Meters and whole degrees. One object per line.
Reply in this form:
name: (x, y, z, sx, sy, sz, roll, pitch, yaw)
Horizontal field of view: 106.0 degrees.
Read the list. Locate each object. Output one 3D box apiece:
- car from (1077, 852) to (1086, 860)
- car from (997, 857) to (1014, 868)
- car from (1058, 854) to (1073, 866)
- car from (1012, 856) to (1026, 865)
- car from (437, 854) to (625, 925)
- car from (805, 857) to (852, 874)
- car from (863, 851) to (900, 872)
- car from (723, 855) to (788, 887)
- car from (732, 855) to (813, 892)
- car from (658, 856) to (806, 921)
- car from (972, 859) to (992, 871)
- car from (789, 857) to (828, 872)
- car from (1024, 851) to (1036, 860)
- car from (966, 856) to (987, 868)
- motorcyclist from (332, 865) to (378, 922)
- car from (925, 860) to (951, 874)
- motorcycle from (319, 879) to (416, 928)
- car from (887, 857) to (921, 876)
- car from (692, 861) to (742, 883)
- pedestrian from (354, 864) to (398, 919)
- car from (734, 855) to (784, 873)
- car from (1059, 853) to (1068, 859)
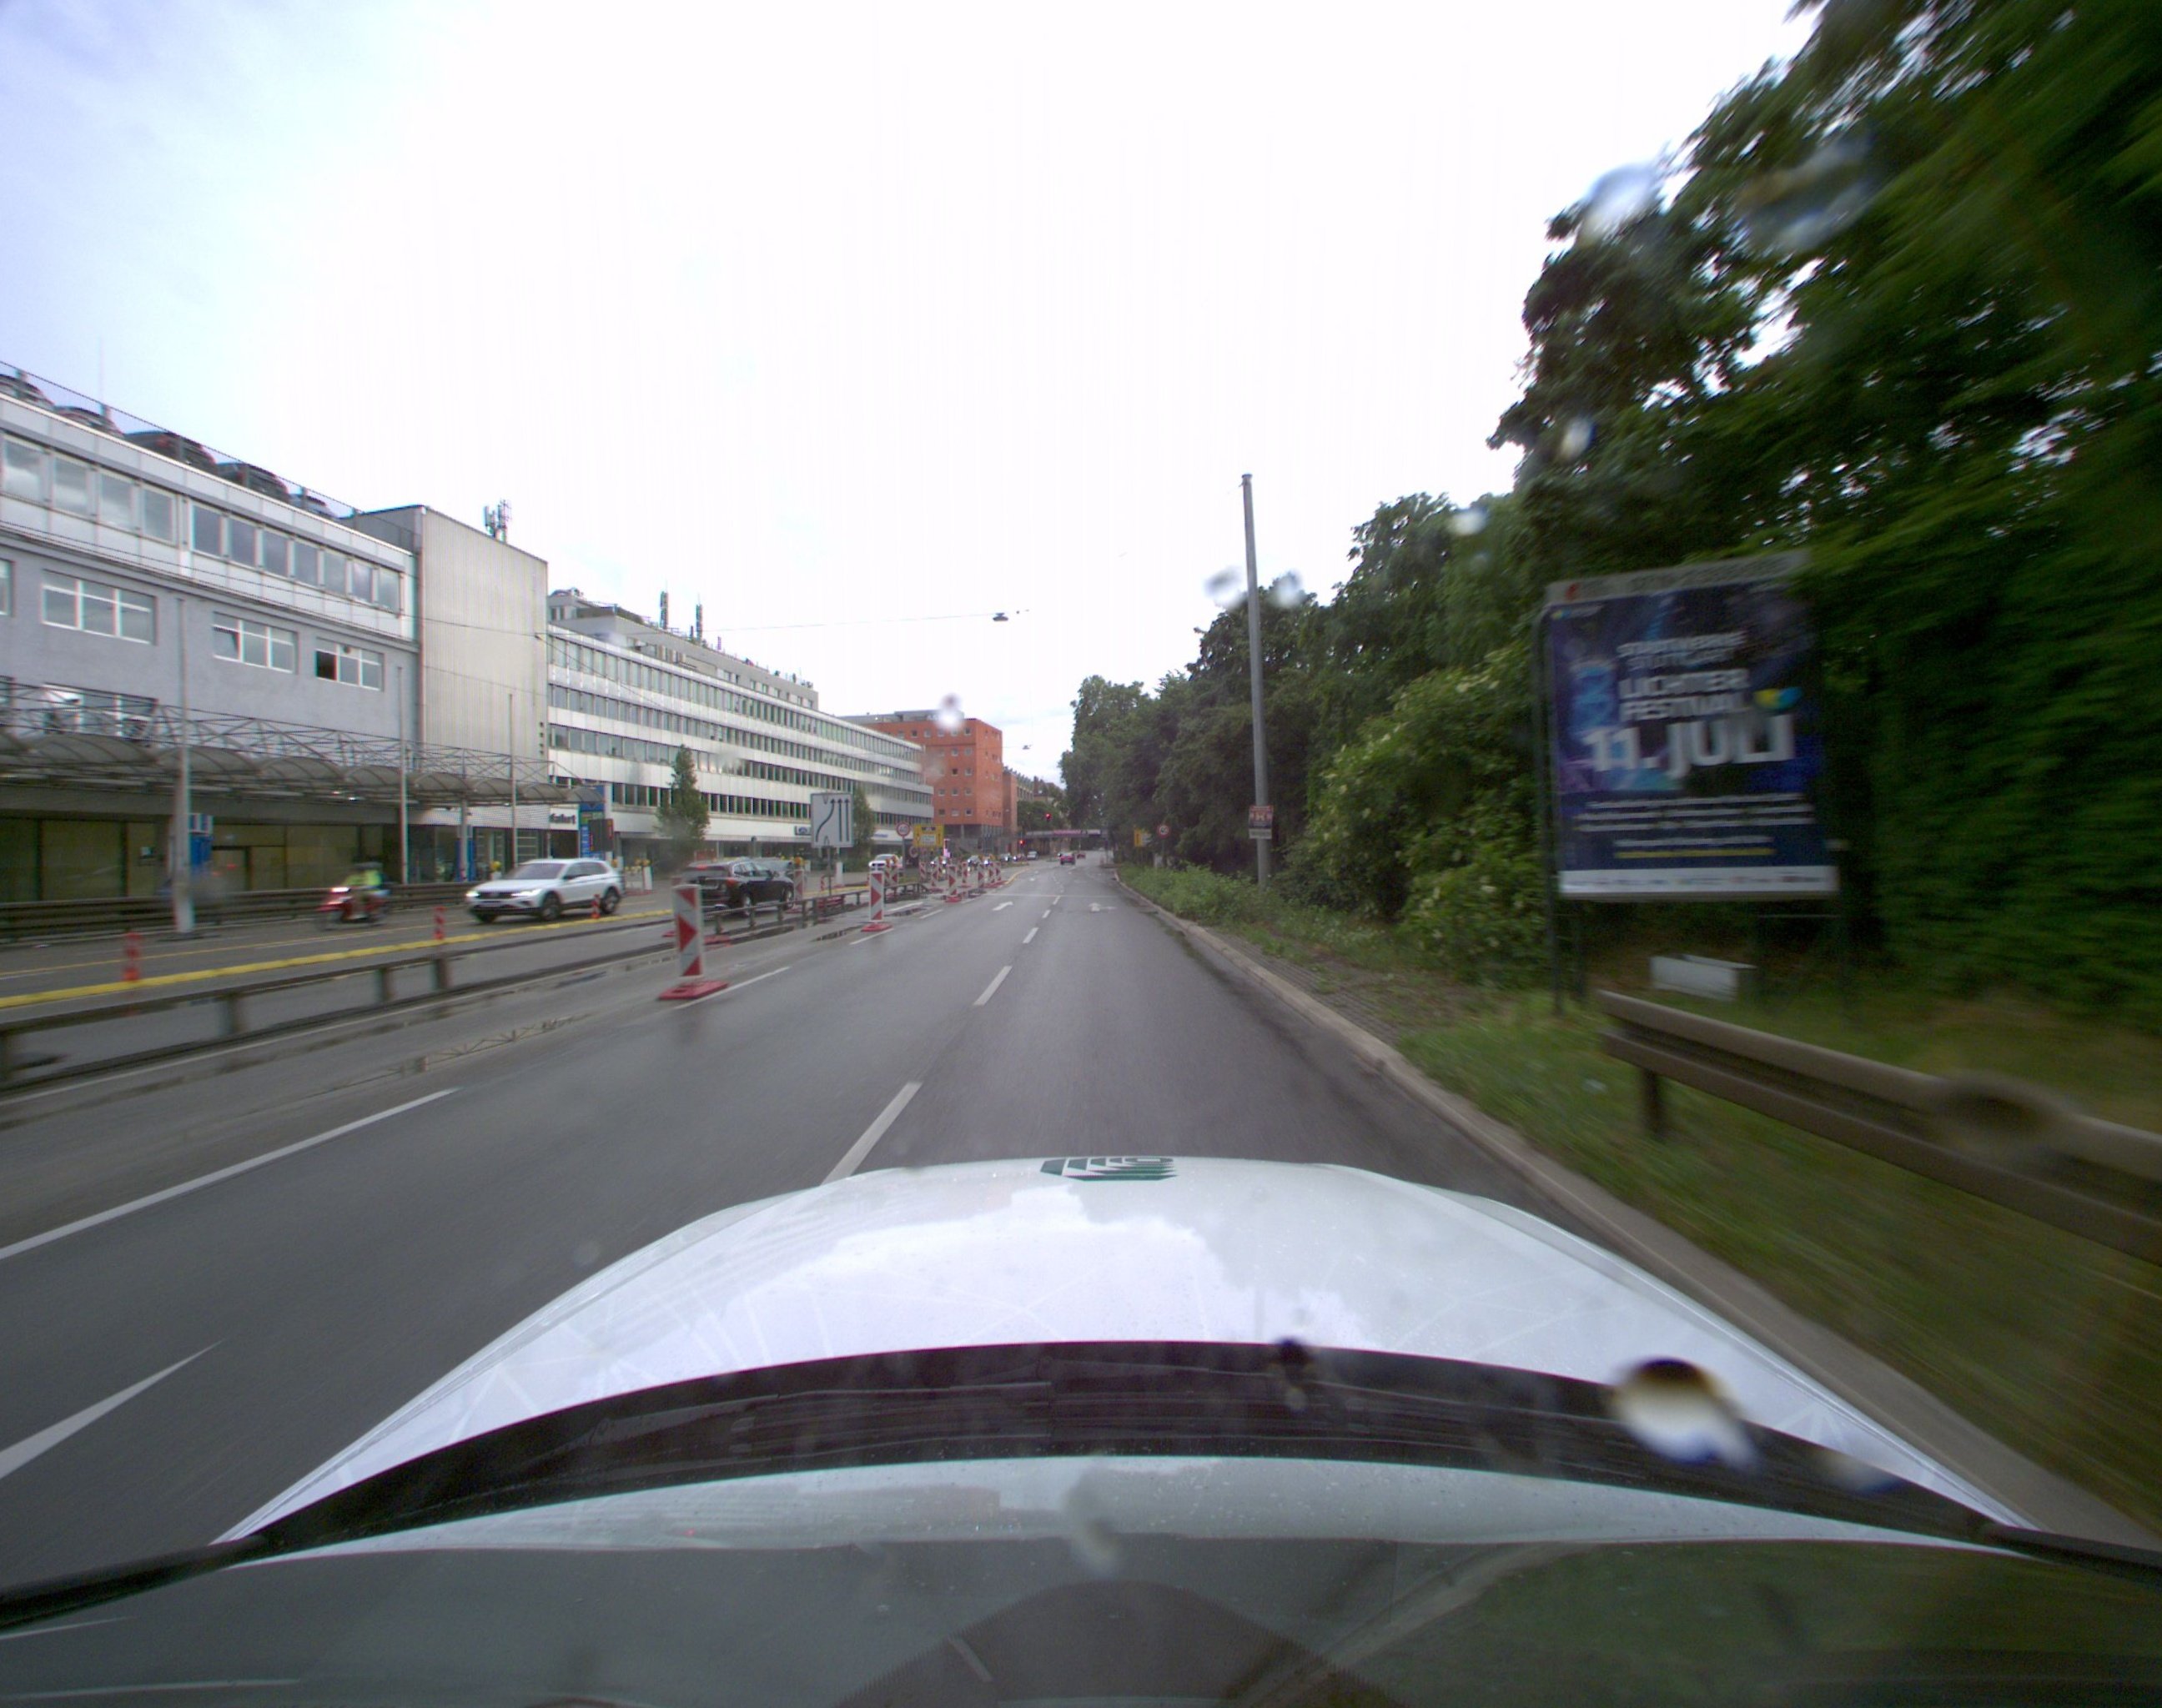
car: (0.075, 0.441, 182.547, 1.756, 1.697, 3.708, -2, 0, 3)
car: (-12.466, 1.333, 134.252, 1.835, 1.737, 4.613, -1, 0, 7)
car: (-2.375, 0.858, 123.181, 2.113, 1.734, 4.199, 1, 1, 0)
car: (-11.175, 1.105, 147.855, 1.821, 1.502, 4.378, -2, 0, 4)
car: (-14.789, 0.874, 22.290, 1.931, 1.689, 4.581, -2, 0, 1)
car: (-30.465, 1.428, 98.437, 5.015, 1.897, 1.976, -2, 0, -40)
car: (-17.142, 0.608, 70.132, 1.973, 1.707, 4.831, -1, 0, 0)
car: (-17.018, 0.843, 42.759, 1.704, 1.536, 4.078, -2, 0, 0)
car: (-13.969, 0.841, 37.167, 1.952, 1.521, 4.300, -1, 0, 1)
car: (-10.037, 0.915, 23.923, 1.938, 1.597, 4.678, 1, 1, 5)
car: (-12.175, 1.322, 99.872, 1.682, 1.354, 4.118, -2, 0, 3)
car: (-31.146, 1.185, 93.177, 4.008, 1.574, 1.983, -2, 0, -26)
car: (-10.086, 0.349, 161.890, 1.726, 1.786, 4.306, -2, 0, 4)
car: (-14.145, 1.072, 110.690, 1.798, 1.558, 4.310, -1, 0, 8)
motorcyclist: (-17.942, 0.958, 20.144, 0.586, 1.363, 0.561, -2, 0, 0)
car: (-16.200, 1.434, 92.219, 1.742, 1.513, 4.007, -2, -1, 7)
motorcycle: (-17.893, 1.207, 20.480, 0.576, 1.102, 2.028, -2, 0, 2)
car: (-13.780, 0.978, 63.638, 1.730, 1.404, 4.289, 0, 0, 0)
car: (-27.367, 1.336, 61.355, 1.644, 1.535, 3.763, -2, 0, 7)
pedestrian: (-17.923, 0.941, 20.713, 0.586, 1.363, 0.561, -2, 0, 0)
car: (-32.290, 0.976, 81.735, 4.403, 1.652, 1.835, -2, 0, -34)
car: (-4.592, 0.456, 210.981, 1.985, 1.519, 4.003, 0, 0, 3)
